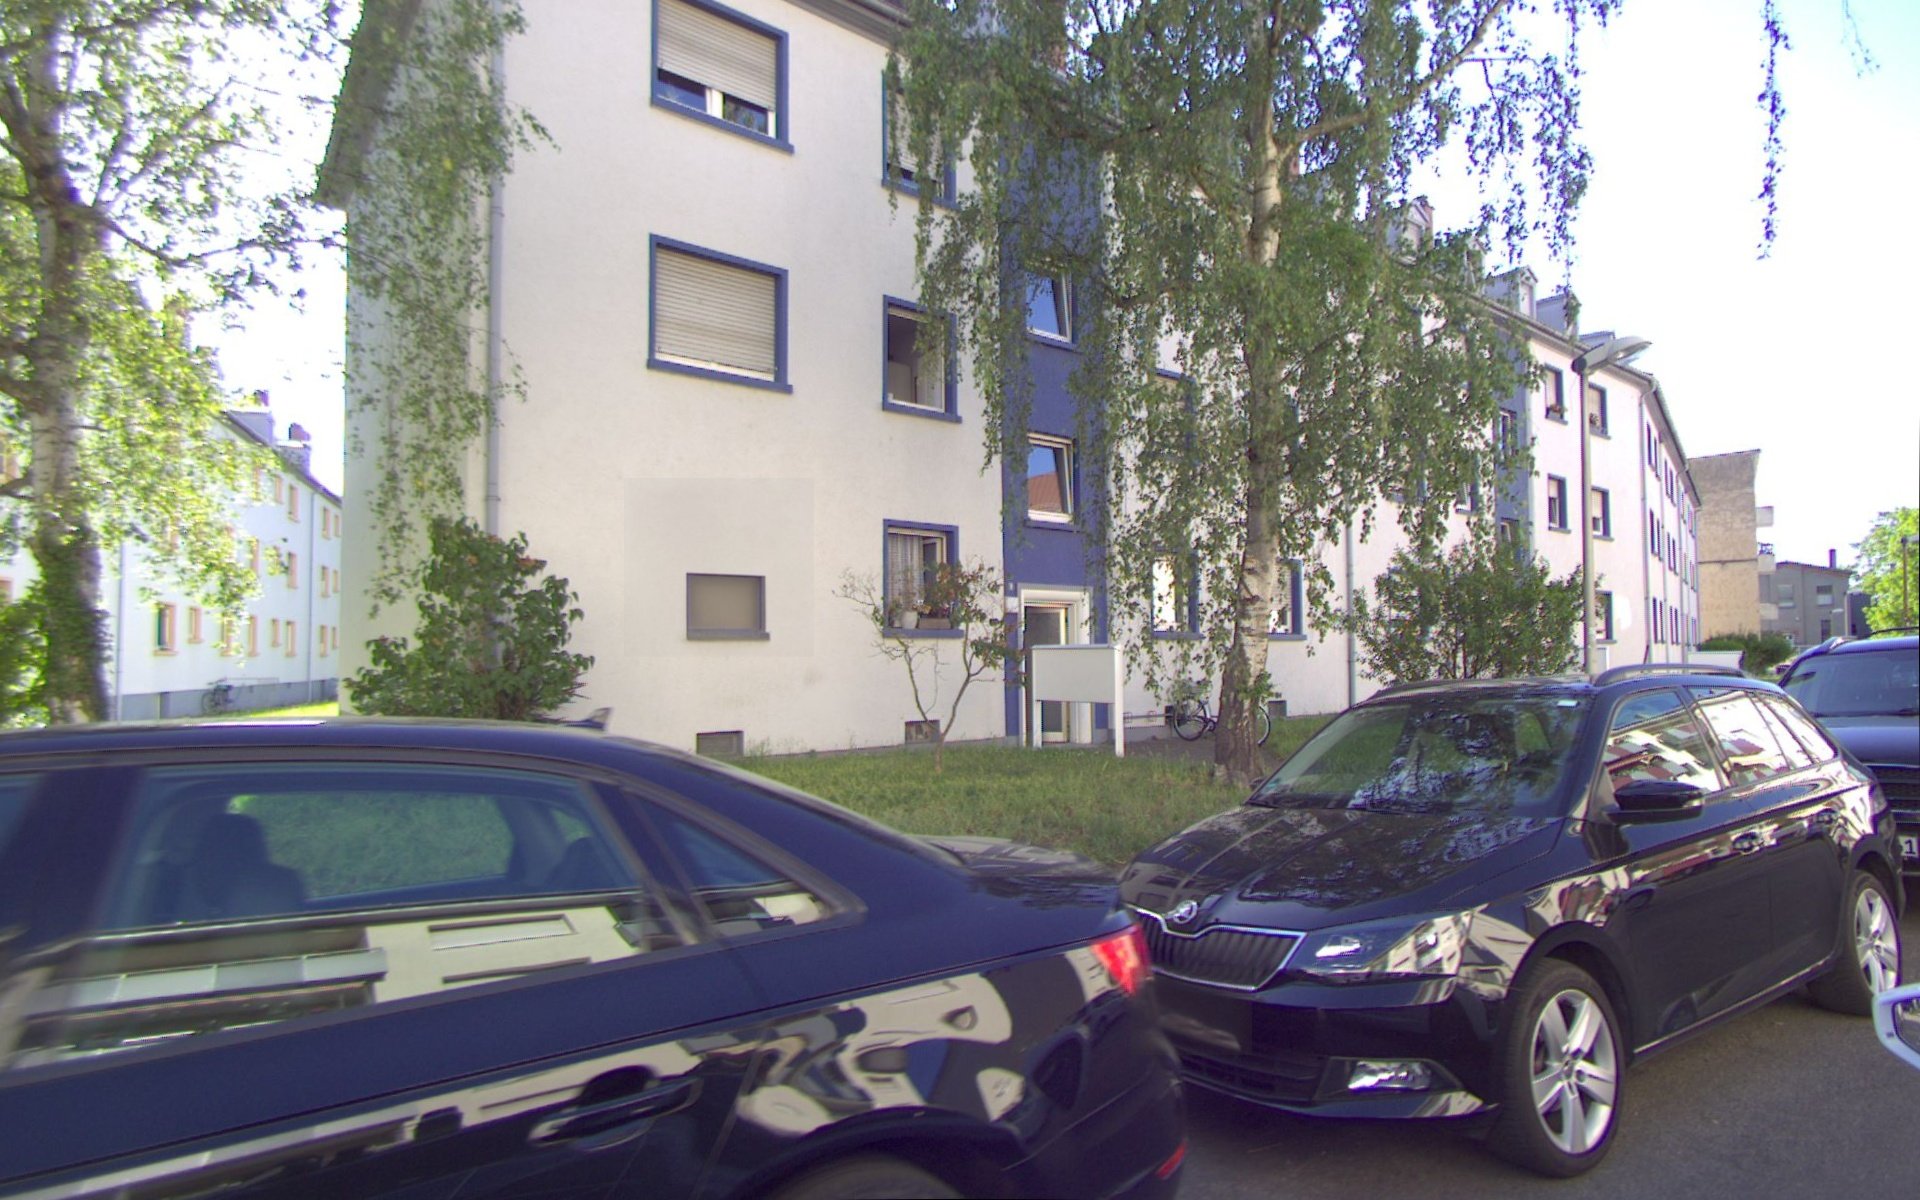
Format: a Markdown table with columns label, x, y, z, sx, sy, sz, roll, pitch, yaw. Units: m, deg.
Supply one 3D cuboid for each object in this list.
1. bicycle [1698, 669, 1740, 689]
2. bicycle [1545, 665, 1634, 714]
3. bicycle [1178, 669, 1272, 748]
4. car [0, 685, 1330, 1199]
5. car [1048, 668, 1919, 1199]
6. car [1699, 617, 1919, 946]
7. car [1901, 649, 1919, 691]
| label | x | y | z | sx | sy | sz | roll | pitch | yaw |
| --- | --- | --- | --- | --- | --- | --- | --- | --- | --- |
| bicycle | 38.299 | 3.986 | 50.677 | 1.628 | 0.948 | 0.545 | -6 | -6 | 40 |
| bicycle | 15.499 | 2.187 | 24.787 | 0.562 | 1.092 | 1.810 | 2 | -2 | -32 |
| bicycle | 4.095 | 1.668 | 15.602 | 0.412 | 1.166 | 1.397 | 2 | -5 | -40 |
| car | -1.494 | 0.934 | 1.612 | 4.232 | 1.460 | 1.670 | 2 | -7 | -32 |
| car | 2.418 | 1.060 | 4.220 | 3.923 | 1.460 | 1.548 | 2 | -6 | -32 |
| car | 6.733 | 1.059 | 6.736 | 4.296 | 1.736 | 1.546 | 3 | -7 | -36 |
| car | 45.109 | 3.256 | 46.419 | 1.873 | 1.879 | 4.179 | -4 | -6 | 37 |
